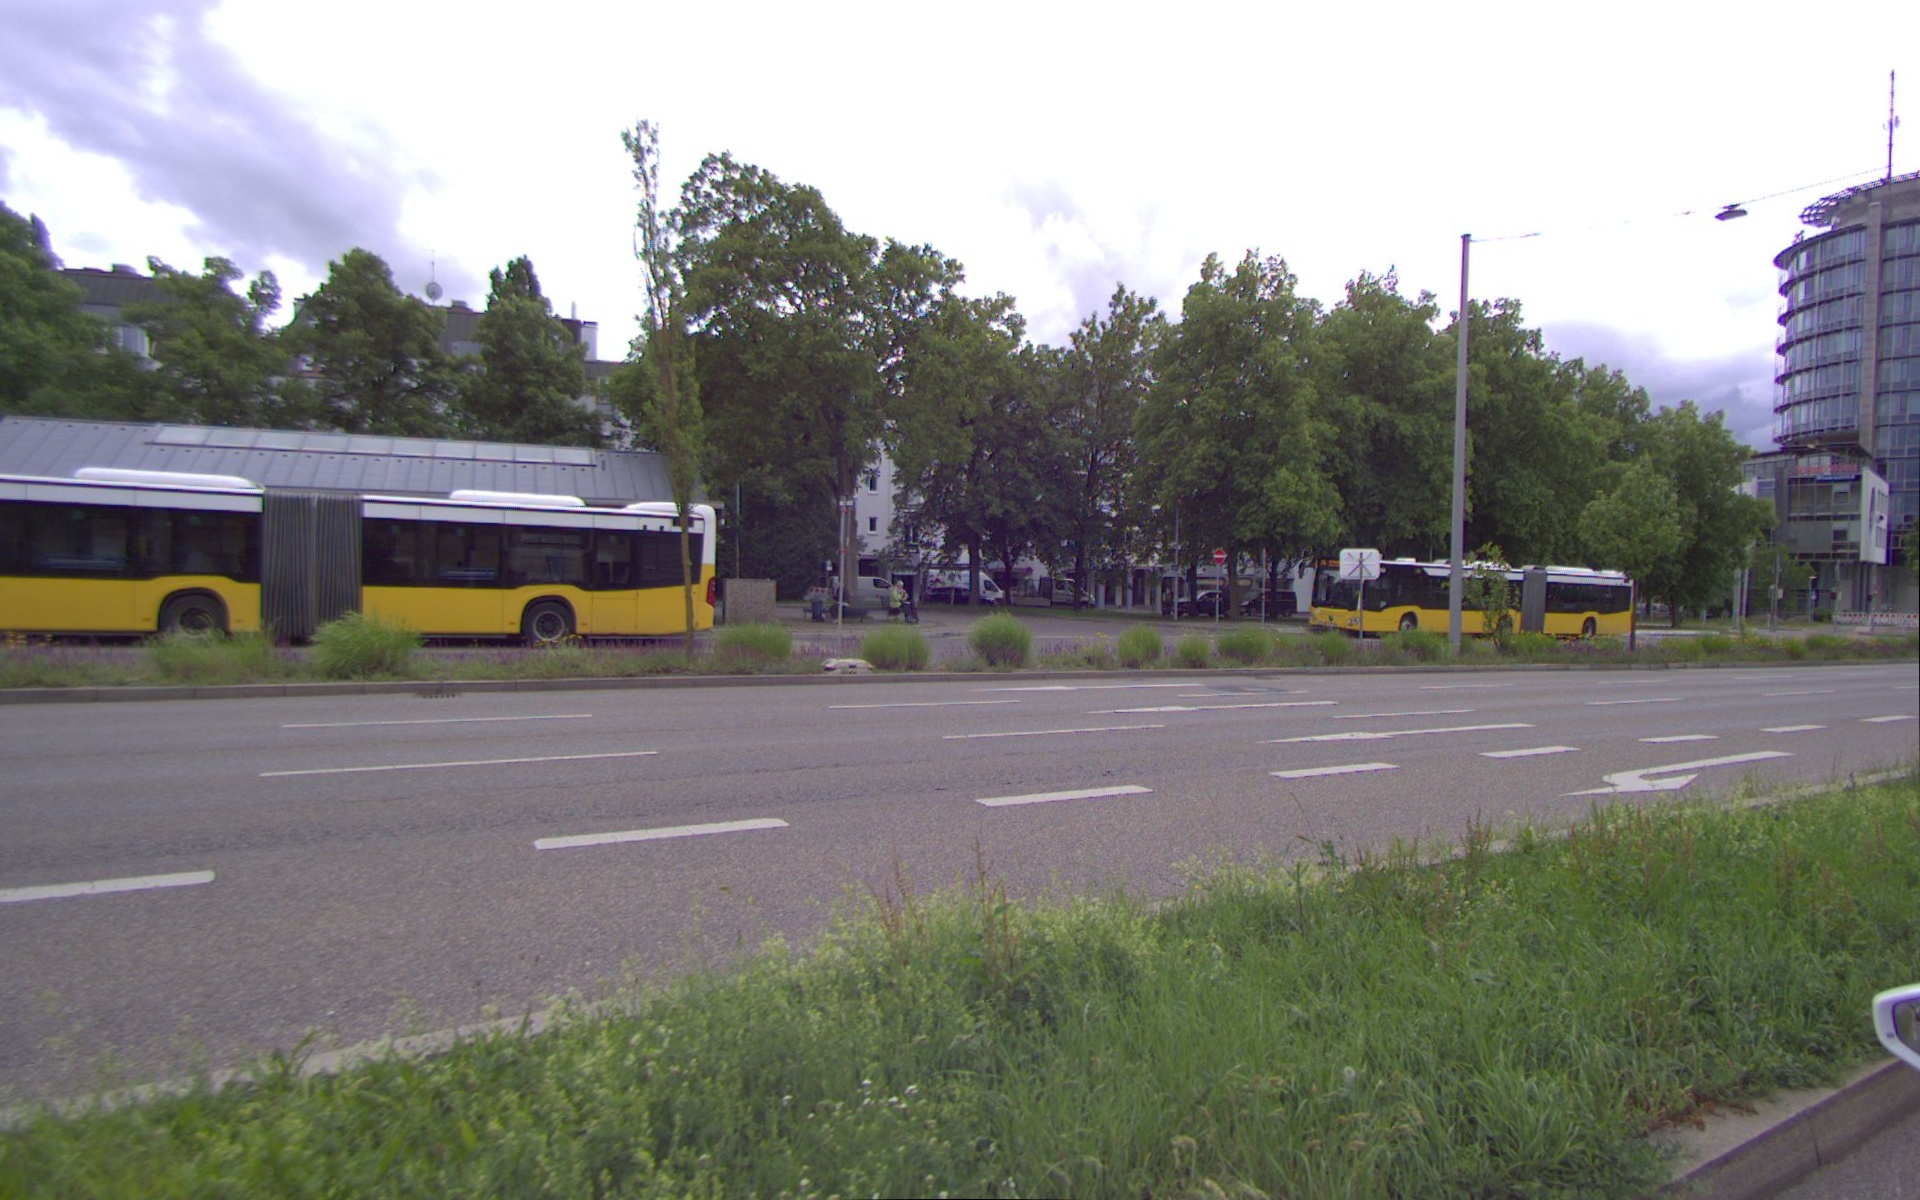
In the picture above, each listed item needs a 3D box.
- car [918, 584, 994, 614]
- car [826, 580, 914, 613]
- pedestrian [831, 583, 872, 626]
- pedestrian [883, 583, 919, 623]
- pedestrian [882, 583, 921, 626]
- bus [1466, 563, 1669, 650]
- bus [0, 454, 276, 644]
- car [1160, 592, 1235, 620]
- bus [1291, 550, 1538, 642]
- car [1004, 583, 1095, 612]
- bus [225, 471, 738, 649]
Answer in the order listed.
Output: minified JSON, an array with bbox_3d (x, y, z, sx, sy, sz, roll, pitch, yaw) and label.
[{"bbox_3d":[-0.250,-0.062,60.891,4.160,1.706,1.992,2,0,-18],"label":"car"},{"bbox_3d":[-5.318,-0.203,59.399,4.838,1.746,1.992,2,0,-18],"label":"car"},{"bbox_3d":[-3.300,0.130,30.605,0.843,1.271,0.894,2,1,31],"label":"pedestrian"},{"bbox_3d":[-1.962,0.102,33.380,0.848,1.271,0.888,1,1,-30],"label":"pedestrian"},{"bbox_3d":[-1.837,0.154,31.517,0.844,1.307,0.893,2,1,35],"label":"pedestrian"},{"bbox_3d":[27.091,0.326,44.665,9.786,3.502,3.018,1,2,-28],"label":"bus"},{"bbox_3d":[-17.847,-0.955,17.584,9.308,3.174,2.767,1,2,-25],"label":"bus"},{"bbox_3d":[14.558,0.370,61.510,4.194,1.602,1.986,1,0,-28],"label":"car"},{"bbox_3d":[18.088,-0.101,39.676,10.605,3.205,3.070,1,2,-29],"label":"bus"},{"bbox_3d":[5.554,-0.155,62.869,5.307,1.670,1.996,1,0,-12],"label":"car"},{"bbox_3d":[-9.601,-0.705,21.267,9.167,3.174,2.802,2,3,-23],"label":"bus"}]
